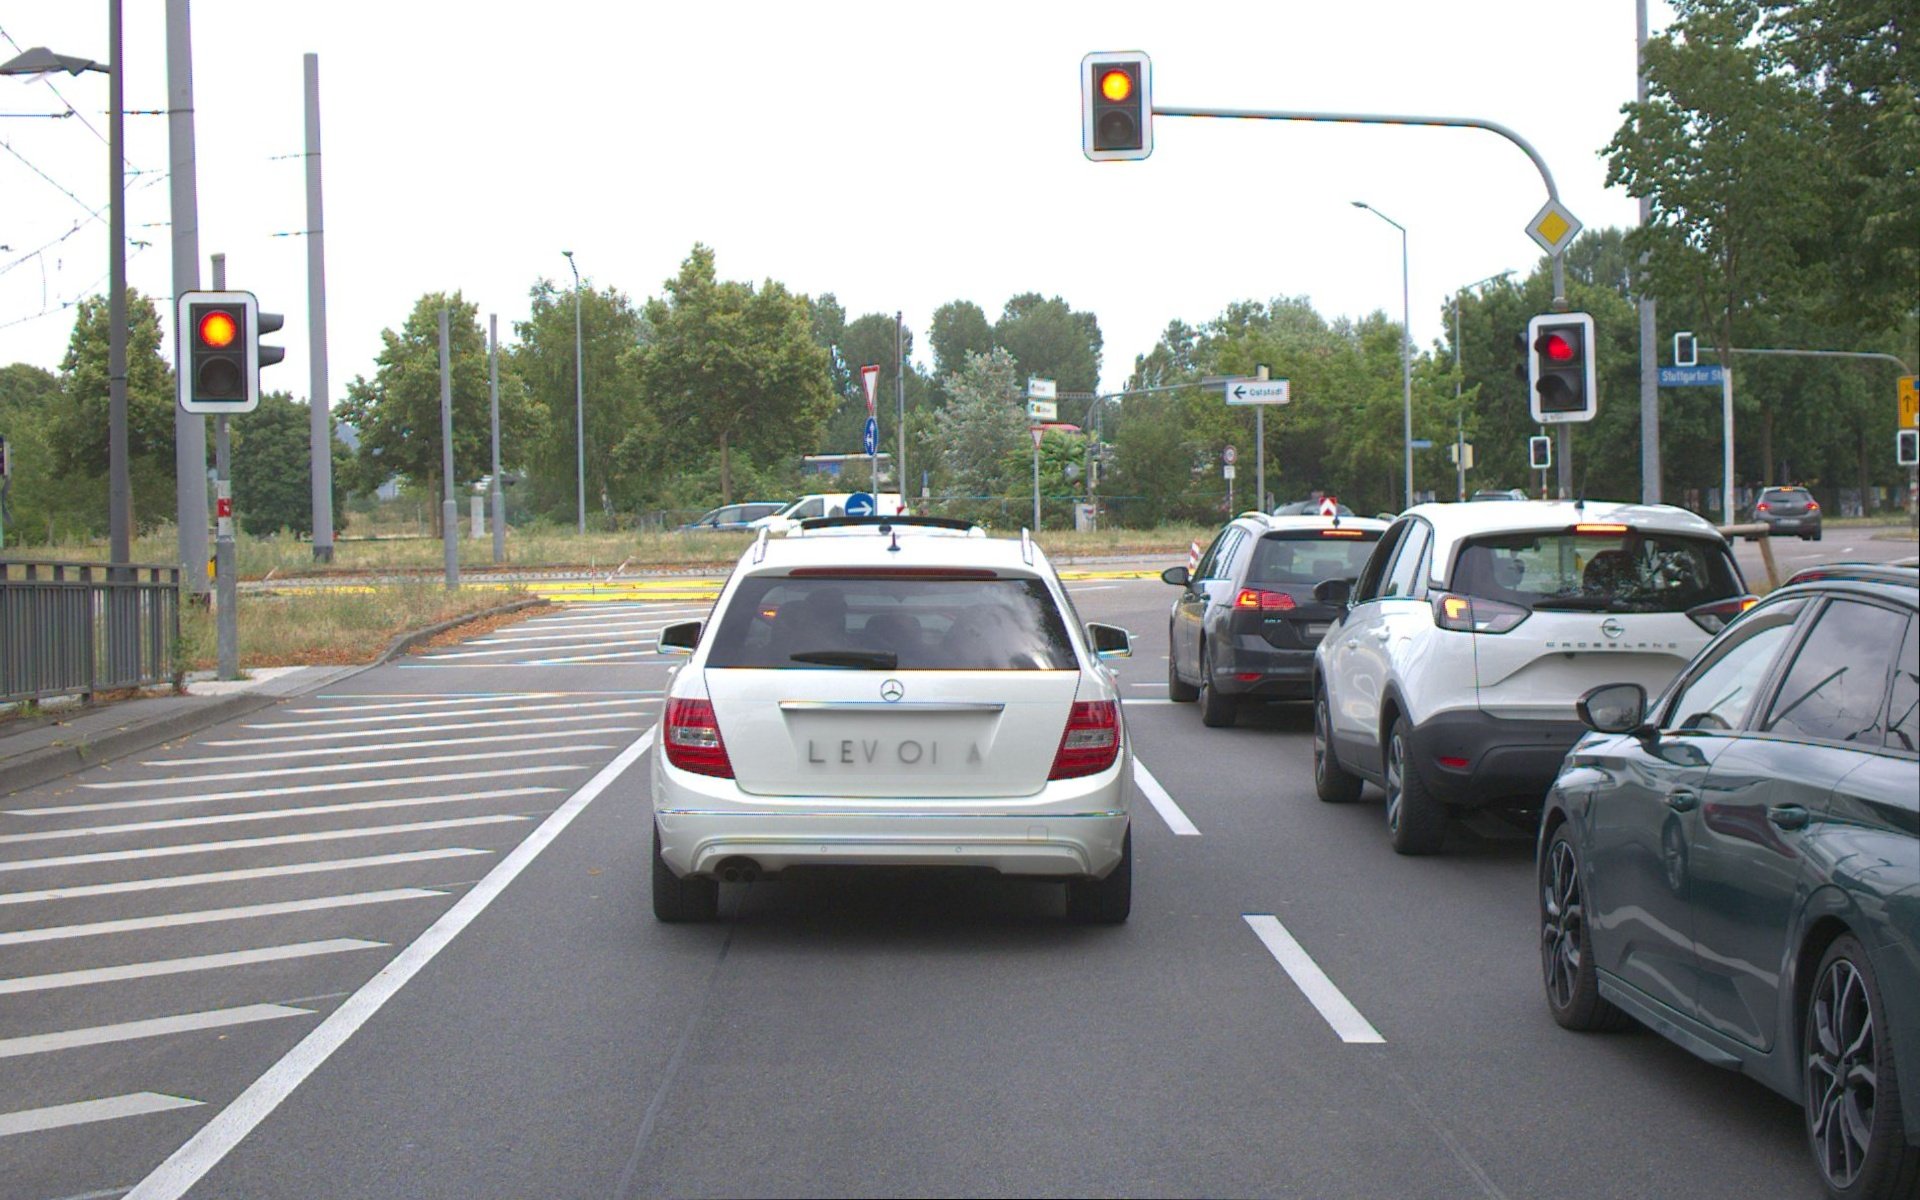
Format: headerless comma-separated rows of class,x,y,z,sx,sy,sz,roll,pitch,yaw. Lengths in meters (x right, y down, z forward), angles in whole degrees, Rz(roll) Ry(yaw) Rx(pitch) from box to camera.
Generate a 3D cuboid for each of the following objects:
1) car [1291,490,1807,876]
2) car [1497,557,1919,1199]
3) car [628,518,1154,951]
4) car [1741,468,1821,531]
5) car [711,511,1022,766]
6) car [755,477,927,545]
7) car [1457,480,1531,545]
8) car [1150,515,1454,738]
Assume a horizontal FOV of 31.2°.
car,2.705,0.300,16.637,1.787,1.619,3.911,-1,2,0
car,2.675,0.642,8.651,1.787,1.427,4.311,0,2,-3
car,-0.310,0.414,13.618,1.773,1.443,3.911,0,2,-2
car,22.092,-2.709,92.603,1.784,1.630,4.400,-1,2,9
car,-0.613,0.172,21.689,1.773,1.443,3.911,0,2,-2
car,-3.685,-2.753,106.167,4.982,2.006,2.001,-1,2,-15
car,15.209,-2.470,97.850,1.994,1.784,3.999,2,1,9
car,2.369,0.128,24.671,1.624,1.443,3.911,0,2,-2
